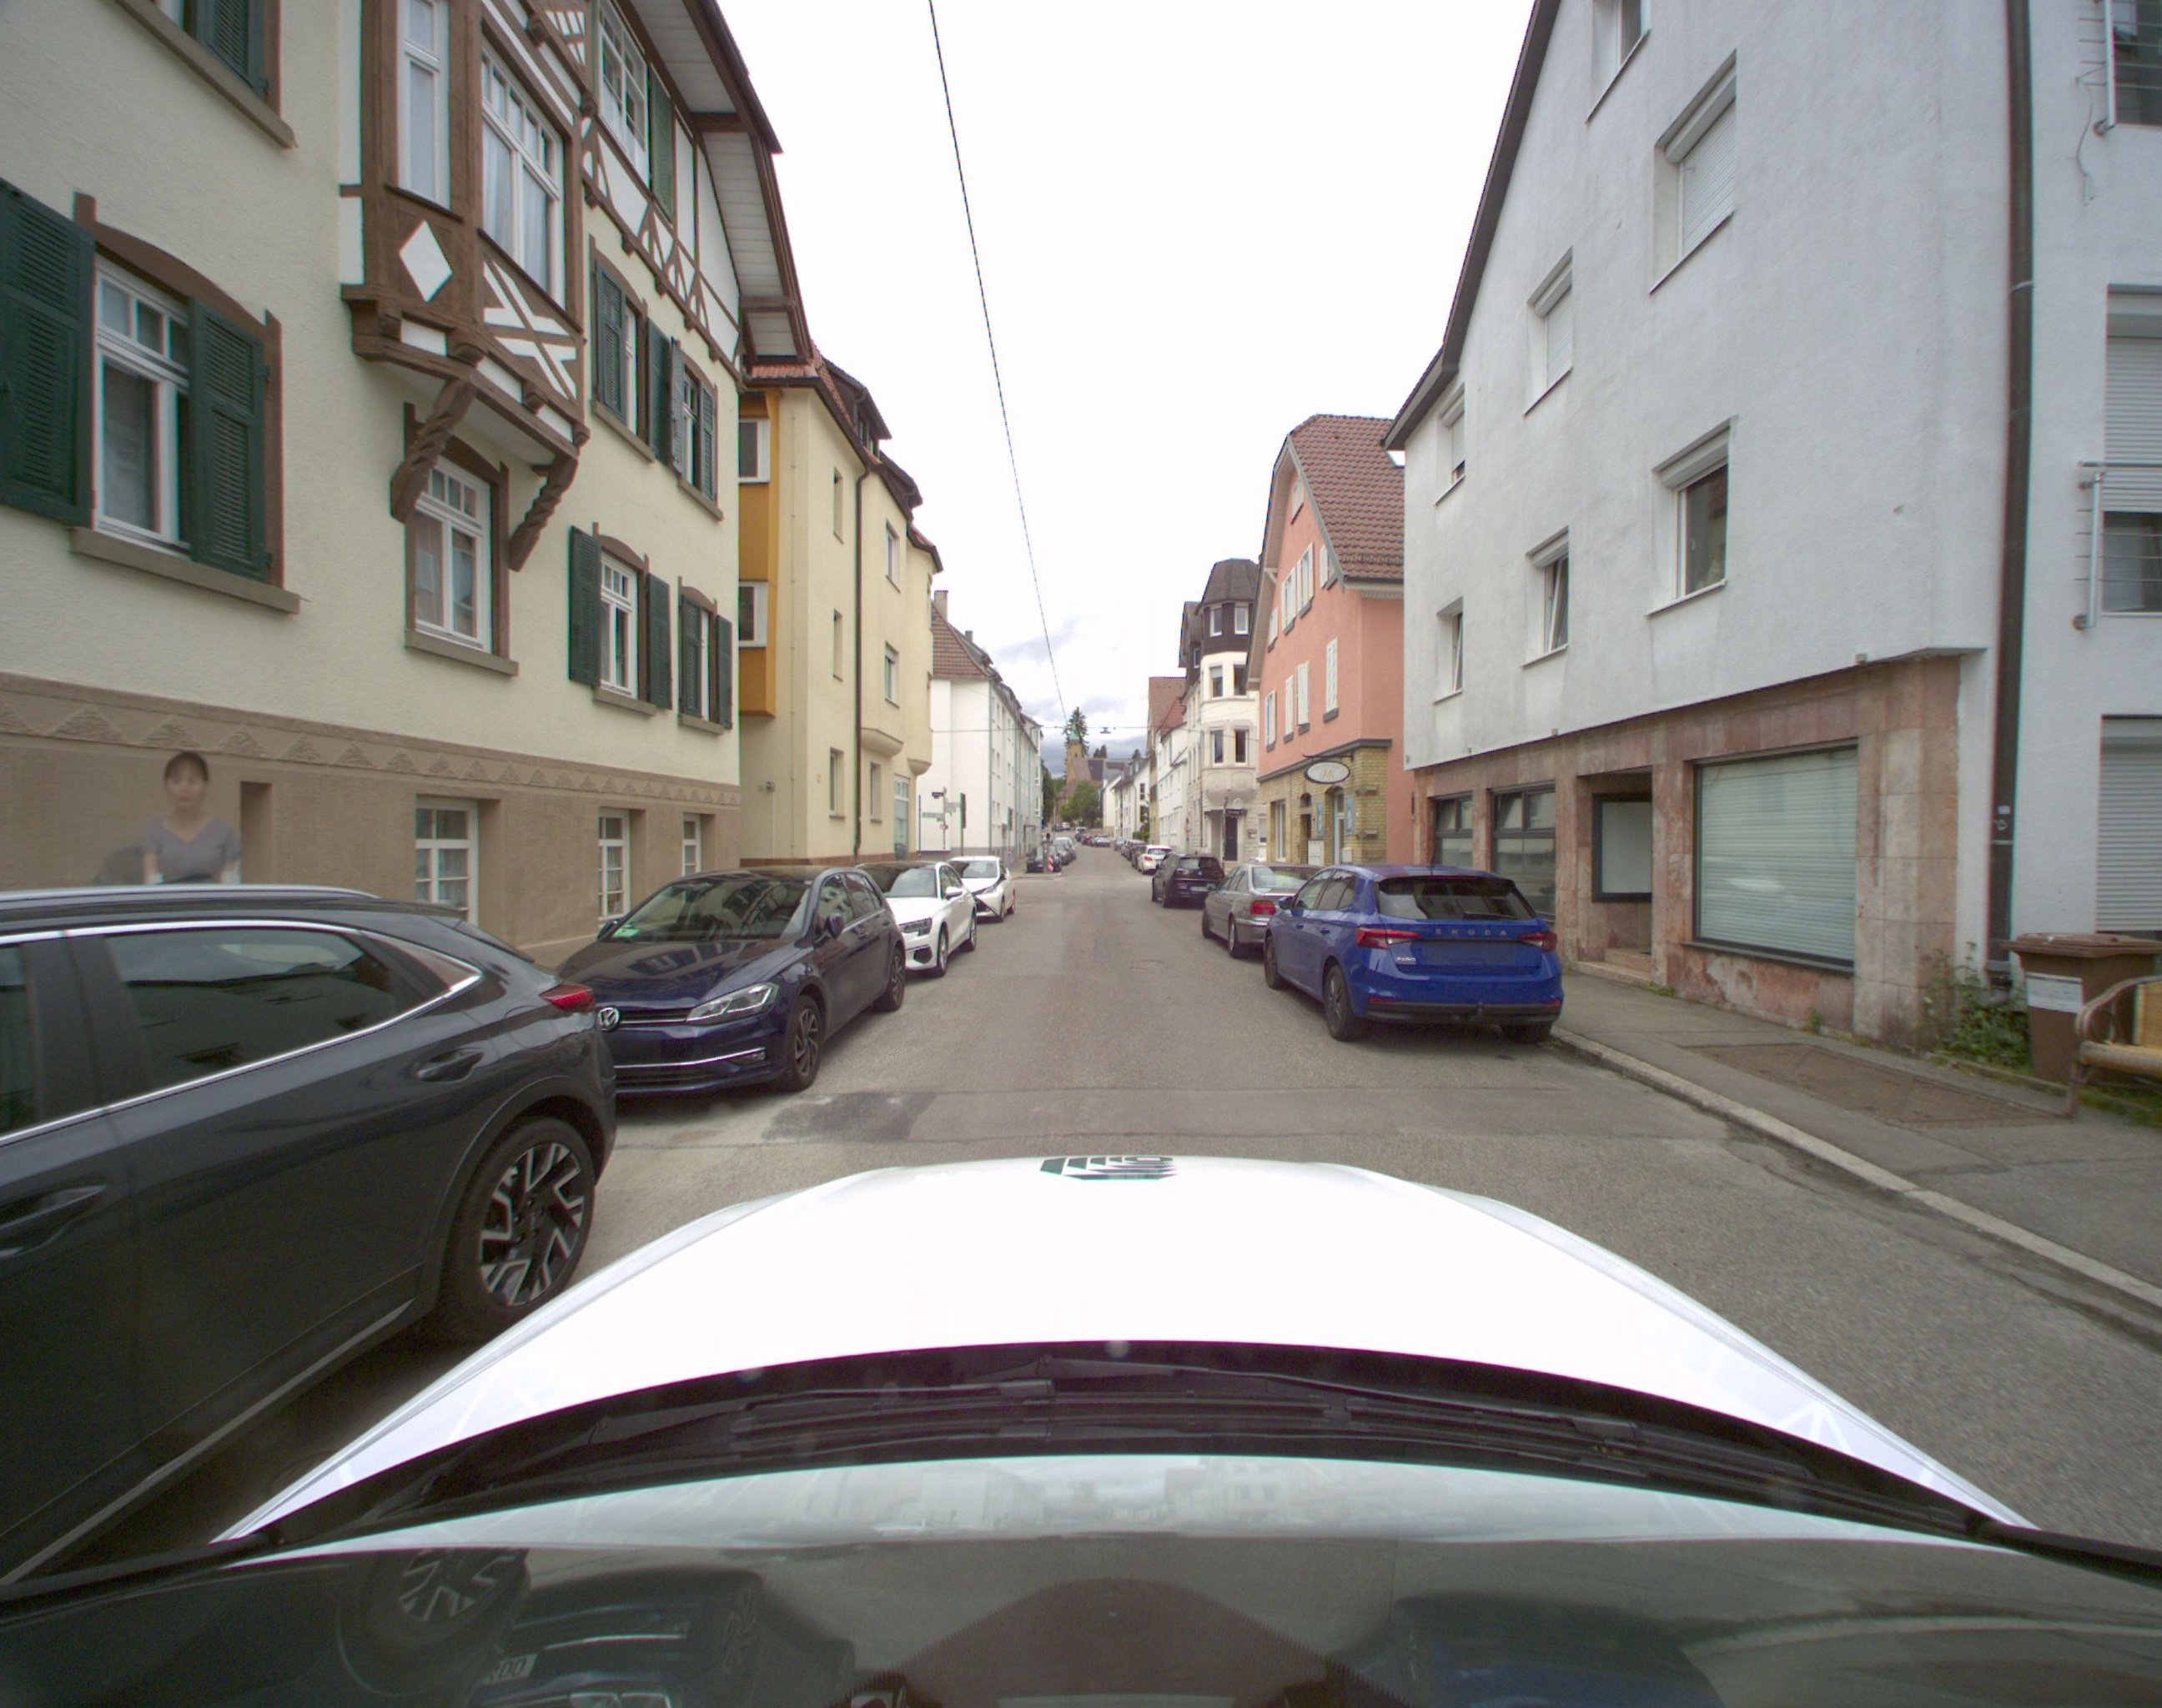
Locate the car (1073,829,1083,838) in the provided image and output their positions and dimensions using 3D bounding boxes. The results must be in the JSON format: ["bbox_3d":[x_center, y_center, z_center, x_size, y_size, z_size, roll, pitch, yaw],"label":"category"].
[{"bbox_3d":[-0.535,-3.631,141.487,1.663,1.479,3.624,0,2,-2],"label":"car"}]

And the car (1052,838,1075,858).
[{"bbox_3d":[-1.328,-0.466,63.738,1.725,1.448,3.718,-1,2,-1],"label":"car"}]

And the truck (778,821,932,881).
[{"bbox_3d":[-9.882,-0.119,36.155,6.261,2.552,2.312,0,-1,-7],"label":"truck"}]

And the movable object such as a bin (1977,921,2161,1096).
[{"bbox_3d":[6.002,0.906,4.922,0.567,0.929,0.522,-3,0,1],"label":"movable object such as a bin"}]

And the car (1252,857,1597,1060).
[{"bbox_3d":[2.920,0.782,7.910,1.745,1.432,3.928,1,-1,1],"label":"car"}]

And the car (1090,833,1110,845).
[{"bbox_3d":[2.366,-1.906,101.802,1.784,1.479,3.615,0,2,-9],"label":"car"}]

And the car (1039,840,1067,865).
[{"bbox_3d":[-1.798,-0.128,53.545,1.725,1.489,3.718,-1,2,-1],"label":"car"}]

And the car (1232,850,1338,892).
[{"bbox_3d":[7.919,0.652,31.755,3.610,1.479,1.669,2,1,-7],"label":"car"}]

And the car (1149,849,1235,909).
[{"bbox_3d":[3.131,0.662,23.788,1.813,1.543,4.024,2,0,-2],"label":"car"}]

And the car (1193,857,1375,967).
[{"bbox_3d":[3.055,0.805,13.275,1.781,1.417,4.577,2,-1,0],"label":"car"}]

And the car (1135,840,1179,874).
[{"bbox_3d":[4.059,0.143,43.875,1.815,1.599,4.025,2,2,-2],"label":"car"}]

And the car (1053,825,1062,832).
[{"bbox_3d":[-4.954,-5.524,173.646,1.666,1.479,3.618,0,2,-7],"label":"car"}]

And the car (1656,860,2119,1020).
[{"bbox_3d":[8.837,0.806,9.508,1.636,1.432,4.016,1,-1,4],"label":"car"}]

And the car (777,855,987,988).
[{"bbox_3d":[-2.526,0.784,11.463,1.745,1.432,4.370,-3,-1,1],"label":"car"}]

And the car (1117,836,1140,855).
[{"bbox_3d":[4.071,-0.752,70.215,1.663,1.479,3.624,2,2,-2],"label":"car"}]

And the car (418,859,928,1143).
[{"bbox_3d":[-2.627,0.814,6.595,1.745,1.456,4.372,-3,-1,2],"label":"car"}]

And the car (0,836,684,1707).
[{"bbox_3d":[-2.658,0.766,1.426,1.745,1.509,4.086,-3,-1,2],"label":"car"}]

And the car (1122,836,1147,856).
[{"bbox_3d":[4.281,-0.646,65.679,1.663,1.479,3.624,2,2,-2],"label":"car"}]

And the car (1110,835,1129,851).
[{"bbox_3d":[3.901,-1.098,83.352,1.663,1.479,3.624,2,2,-2],"label":"car"}]

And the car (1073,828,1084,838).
[{"bbox_3d":[-0.435,-3.375,129.846,1.663,1.479,3.624,0,2,-2],"label":"car"}]

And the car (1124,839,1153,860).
[{"bbox_3d":[4.168,-0.344,59.277,1.663,1.384,4.025,2,2,-2],"label":"car"}]

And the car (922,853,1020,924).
[{"bbox_3d":[-2.467,0.753,19.184,1.661,1.434,3.816,-3,-1,1],"label":"car"}]

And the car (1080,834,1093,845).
[{"bbox_3d":[0.727,-2.028,112.867,1.663,1.479,3.624,0,2,-2],"label":"car"}]

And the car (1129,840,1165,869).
[{"bbox_3d":[3.945,-0.031,48.994,1.663,1.532,4.025,2,2,-2],"label":"car"}]

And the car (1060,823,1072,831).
[{"bbox_3d":[-3.328,-6.081,180.428,2.180,1.693,3.618,0,2,-7],"label":"car"}]

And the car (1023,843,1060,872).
[{"bbox_3d":[-2.097,0.160,44.354,1.815,1.391,4.297,-1,2,-1],"label":"car"}]
